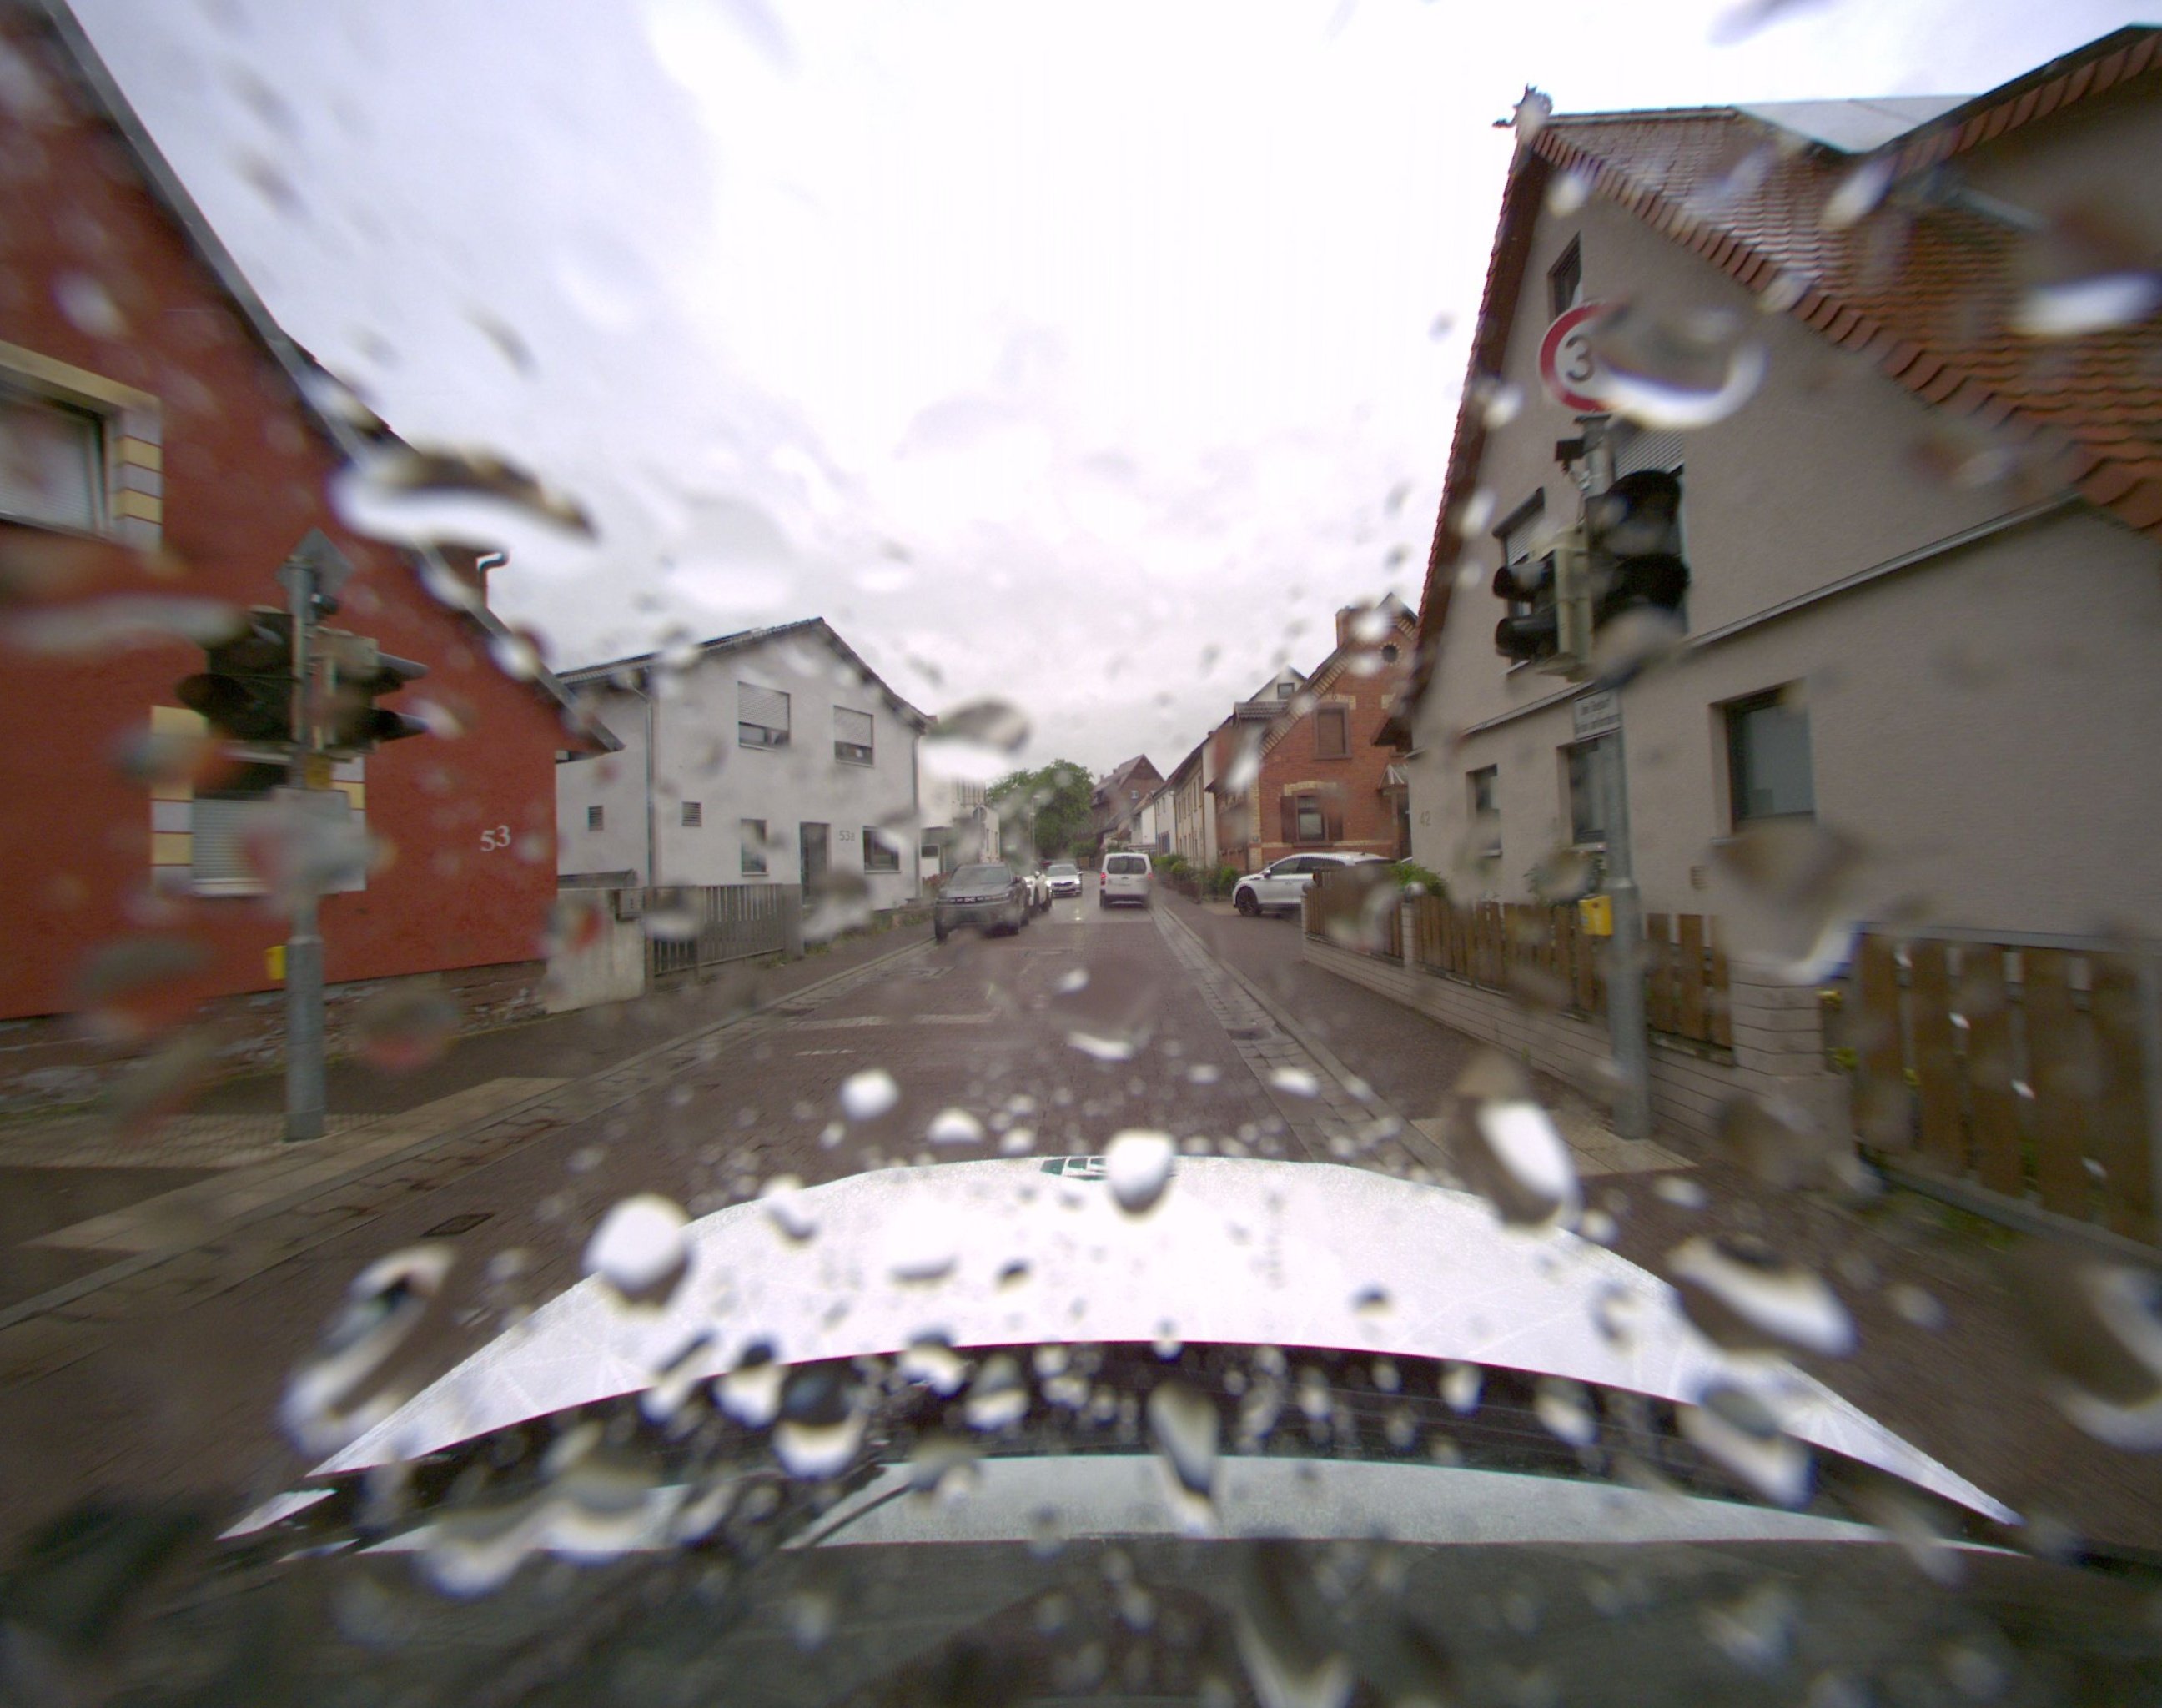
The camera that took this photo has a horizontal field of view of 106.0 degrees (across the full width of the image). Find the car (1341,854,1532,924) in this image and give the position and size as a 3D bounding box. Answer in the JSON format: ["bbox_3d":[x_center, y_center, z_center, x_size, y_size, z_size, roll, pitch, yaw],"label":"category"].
[{"bbox_3d":[8.796,0.794,20.568,1.879,1.516,4.258,-2,0,-24],"label":"car"}]

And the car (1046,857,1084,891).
[{"bbox_3d":[-0.890,1.074,45.762,1.988,1.677,4.780,-3,0,-1],"label":"car"}]

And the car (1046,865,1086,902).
[{"bbox_3d":[-0.745,1.383,37.711,1.685,1.565,3.929,-2,-3,-3],"label":"car"}]

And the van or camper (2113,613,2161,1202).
[{"bbox_3d":[6.060,0.169,1.893,5.054,1.923,1.875,0,-1,-1],"label":"van or camper"}]

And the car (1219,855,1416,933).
[{"bbox_3d":[5.554,0.852,19.769,1.883,1.590,4.575,0,1,-30],"label":"car"}]

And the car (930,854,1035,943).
[{"bbox_3d":[-2.168,0.922,18.974,1.806,1.779,4.018,-2,0,1],"label":"car"}]

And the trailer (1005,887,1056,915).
[{"bbox_3d":[-1.734,1.635,28.757,1.477,0.829,2.677,-4,-2,2],"label":"trailer"}]

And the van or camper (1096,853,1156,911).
[{"bbox_3d":[1.528,0.906,28.139,1.936,1.851,4.002,0,0,2],"label":"van or camper"}]

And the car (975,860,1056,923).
[{"bbox_3d":[-1.903,1.099,25.056,1.741,1.636,4.422,-4,-2,4],"label":"car"}]
